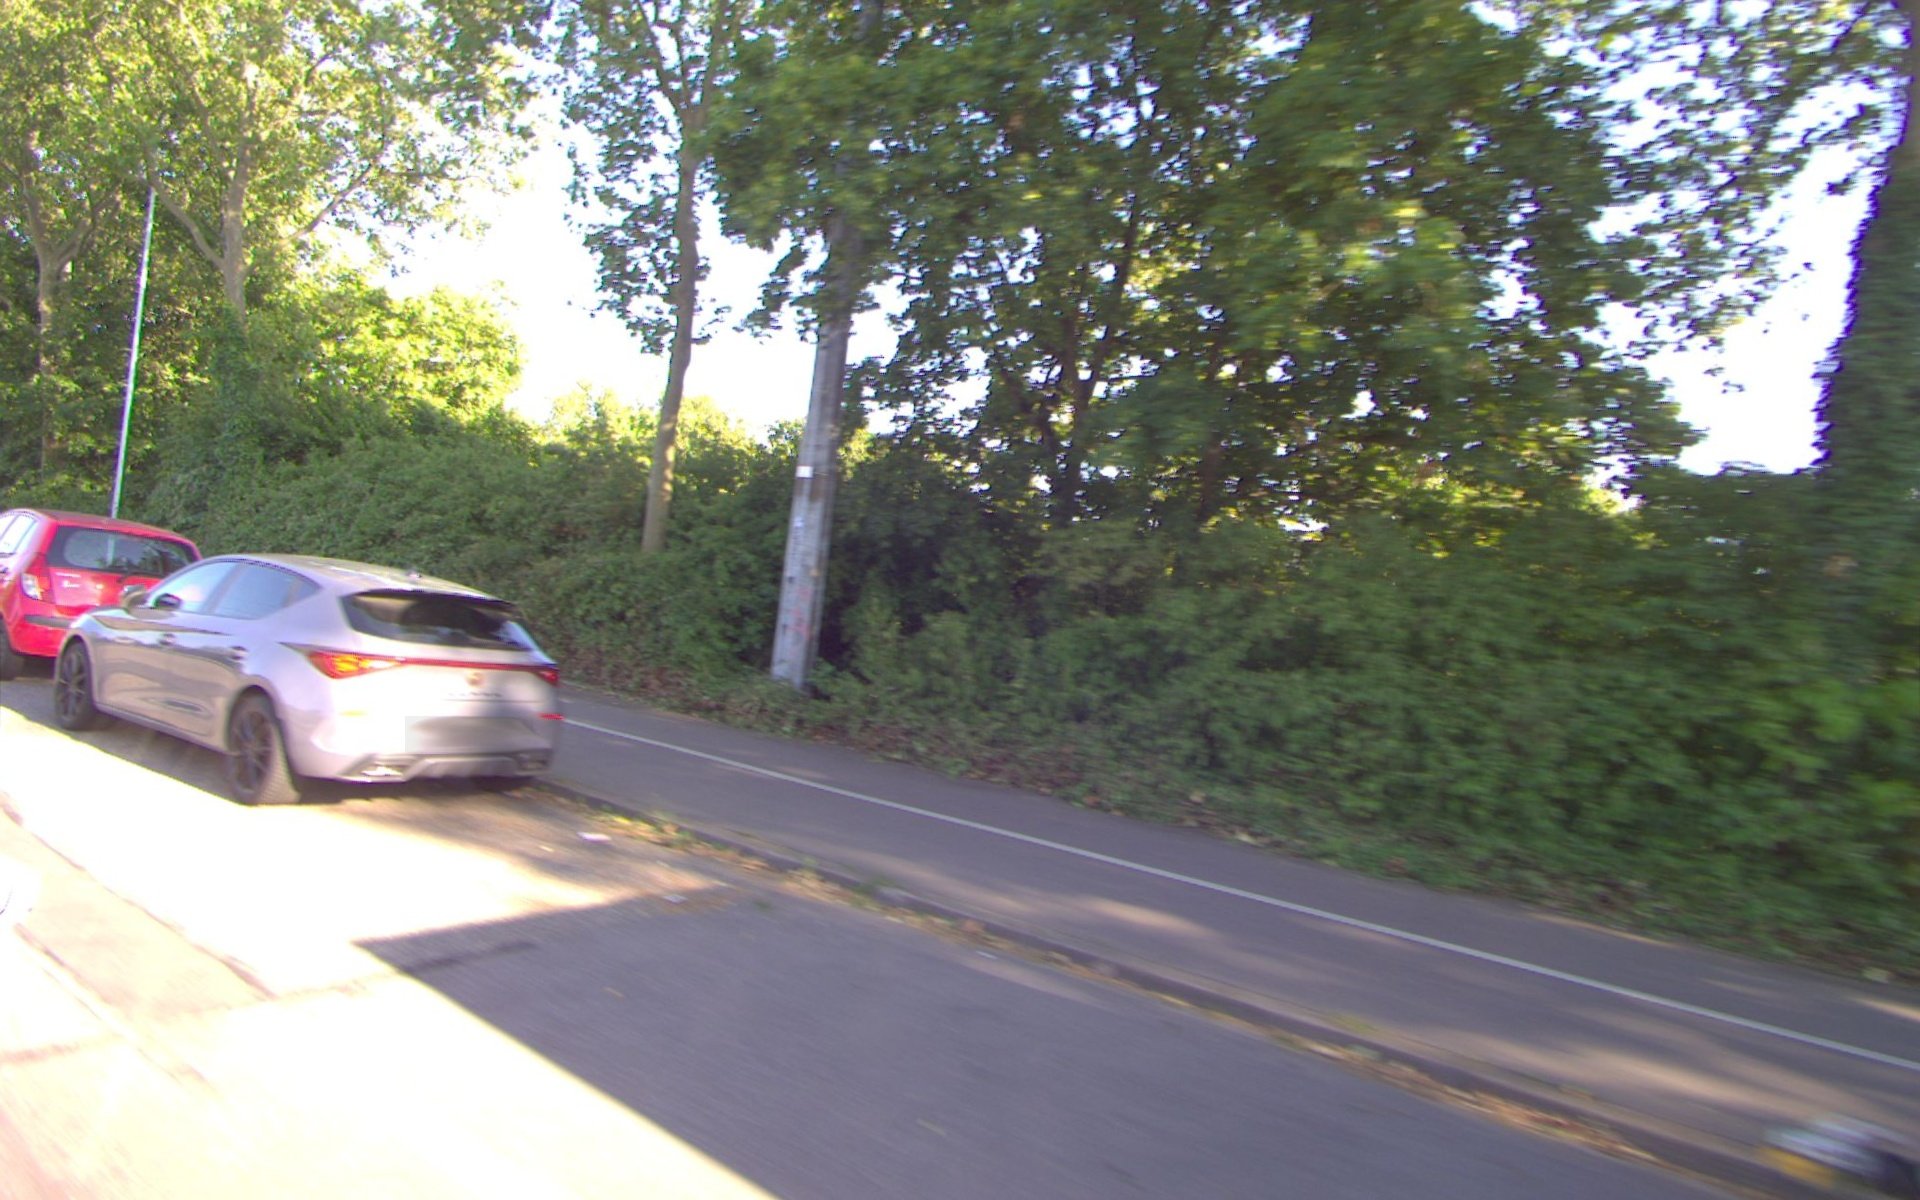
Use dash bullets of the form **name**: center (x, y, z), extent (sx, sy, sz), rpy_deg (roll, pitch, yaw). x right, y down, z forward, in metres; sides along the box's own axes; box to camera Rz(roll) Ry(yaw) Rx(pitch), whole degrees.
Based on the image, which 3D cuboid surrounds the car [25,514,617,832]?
- **car**: center (-4.598, 0.372, 7.100), extent (4.097, 1.474, 1.812), rpy_deg (6, -1, 32)

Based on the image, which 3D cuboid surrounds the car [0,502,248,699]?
- **car**: center (-9.008, -0.076, 10.119), extent (3.581, 1.553, 1.644), rpy_deg (6, -4, 33)
